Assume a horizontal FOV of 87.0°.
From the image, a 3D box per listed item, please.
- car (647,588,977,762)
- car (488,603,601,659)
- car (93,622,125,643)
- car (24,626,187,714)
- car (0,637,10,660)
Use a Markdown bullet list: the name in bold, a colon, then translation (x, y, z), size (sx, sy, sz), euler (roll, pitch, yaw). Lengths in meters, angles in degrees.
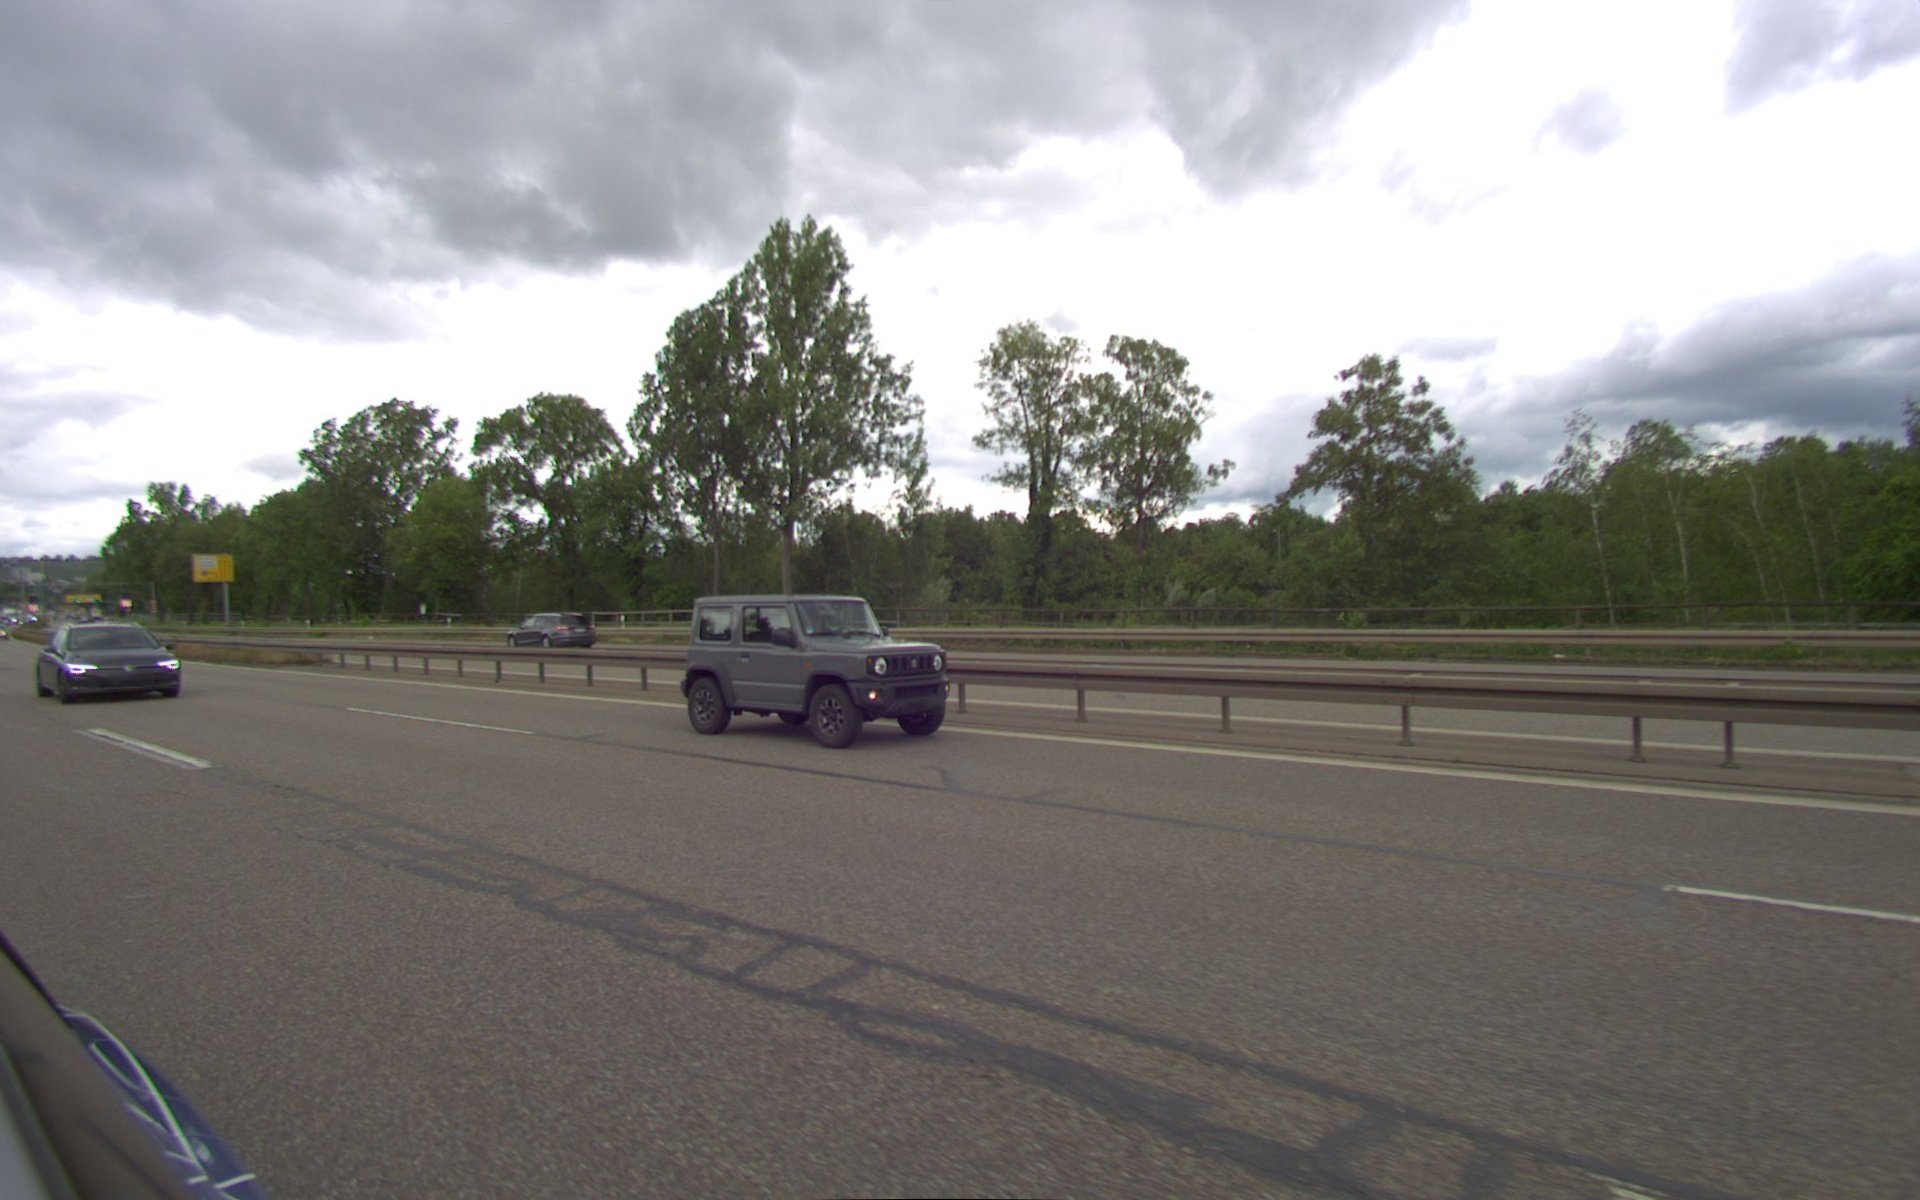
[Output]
- **car**: translation (-1.878, 0.801, 12.131), size (3.995, 1.749, 1.664), euler (-2, -1, 40)
- **car**: translation (-16.683, 1.251, 40.481), size (5.218, 2.029, 1.973), euler (-2, 1, 41)
- **car**: translation (-89.506, 3.410, 106.395), size (3.997, 2.029, 1.973), euler (-2, -1, 41)
- **car**: translation (-16.844, 1.295, 19.876), size (4.303, 1.512, 1.914), euler (-2, -1, 42)
- **car**: translation (-88.017, 4.435, 92.033), size (3.999, 2.029, 1.972), euler (-2, 1, 42)
